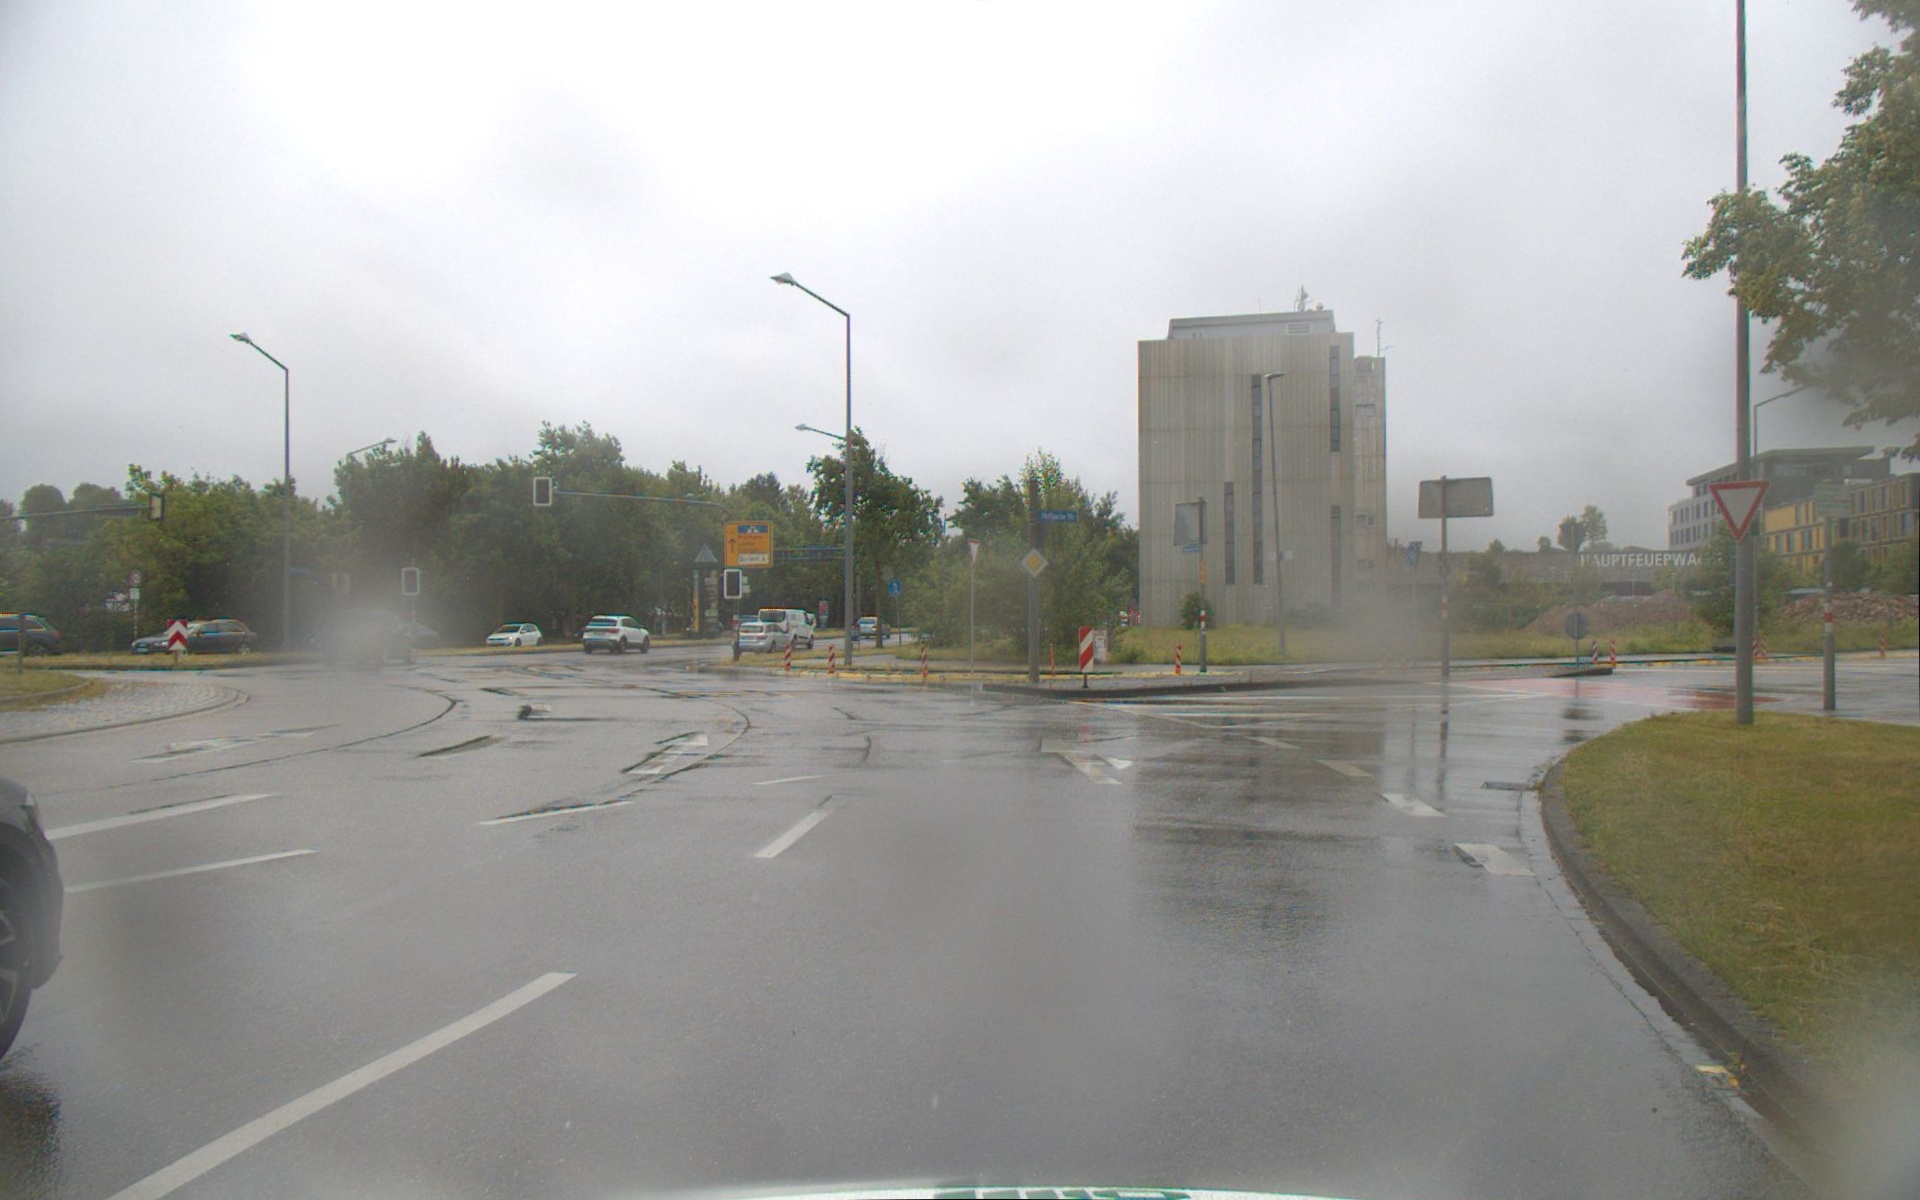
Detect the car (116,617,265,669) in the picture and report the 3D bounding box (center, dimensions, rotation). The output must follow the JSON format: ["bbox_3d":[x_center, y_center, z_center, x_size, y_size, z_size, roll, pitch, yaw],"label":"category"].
[{"bbox_3d":[-26.771,1.505,57.636,1.758,1.677,4.365,0,-3,43],"label":"car"}]

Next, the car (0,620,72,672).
[{"bbox_3d":[-32.438,1.516,55.708,4.113,1.677,1.761,3,-3,-43],"label":"car"}]

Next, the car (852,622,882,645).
[{"bbox_3d":[-6.329,2.297,112.707,1.653,1.518,3.252,0,0,3],"label":"car"}]

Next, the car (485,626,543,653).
[{"bbox_3d":[-24.640,2.196,91.541,1.592,1.400,4.252,1,-2,7],"label":"car"}]

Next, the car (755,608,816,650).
[{"bbox_3d":[-9.007,1.516,85.529,1.745,2.072,4.002,1,-2,15],"label":"car"}]

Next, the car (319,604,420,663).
[{"bbox_3d":[-17.999,1.052,50.604,1.748,1.677,3.997,2,-2,-3],"label":"car"}]

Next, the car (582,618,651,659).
[{"bbox_3d":[-14.911,1.688,71.977,1.645,1.677,3.949,1,-2,8],"label":"car"}]

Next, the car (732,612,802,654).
[{"bbox_3d":[-8.552,1.444,73.591,1.745,1.842,4.841,0,-1,10],"label":"car"}]

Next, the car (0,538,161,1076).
[{"bbox_3d":[-3.654,0.585,3.486,1.746,1.544,4.333,0,0,1],"label":"car"}]
